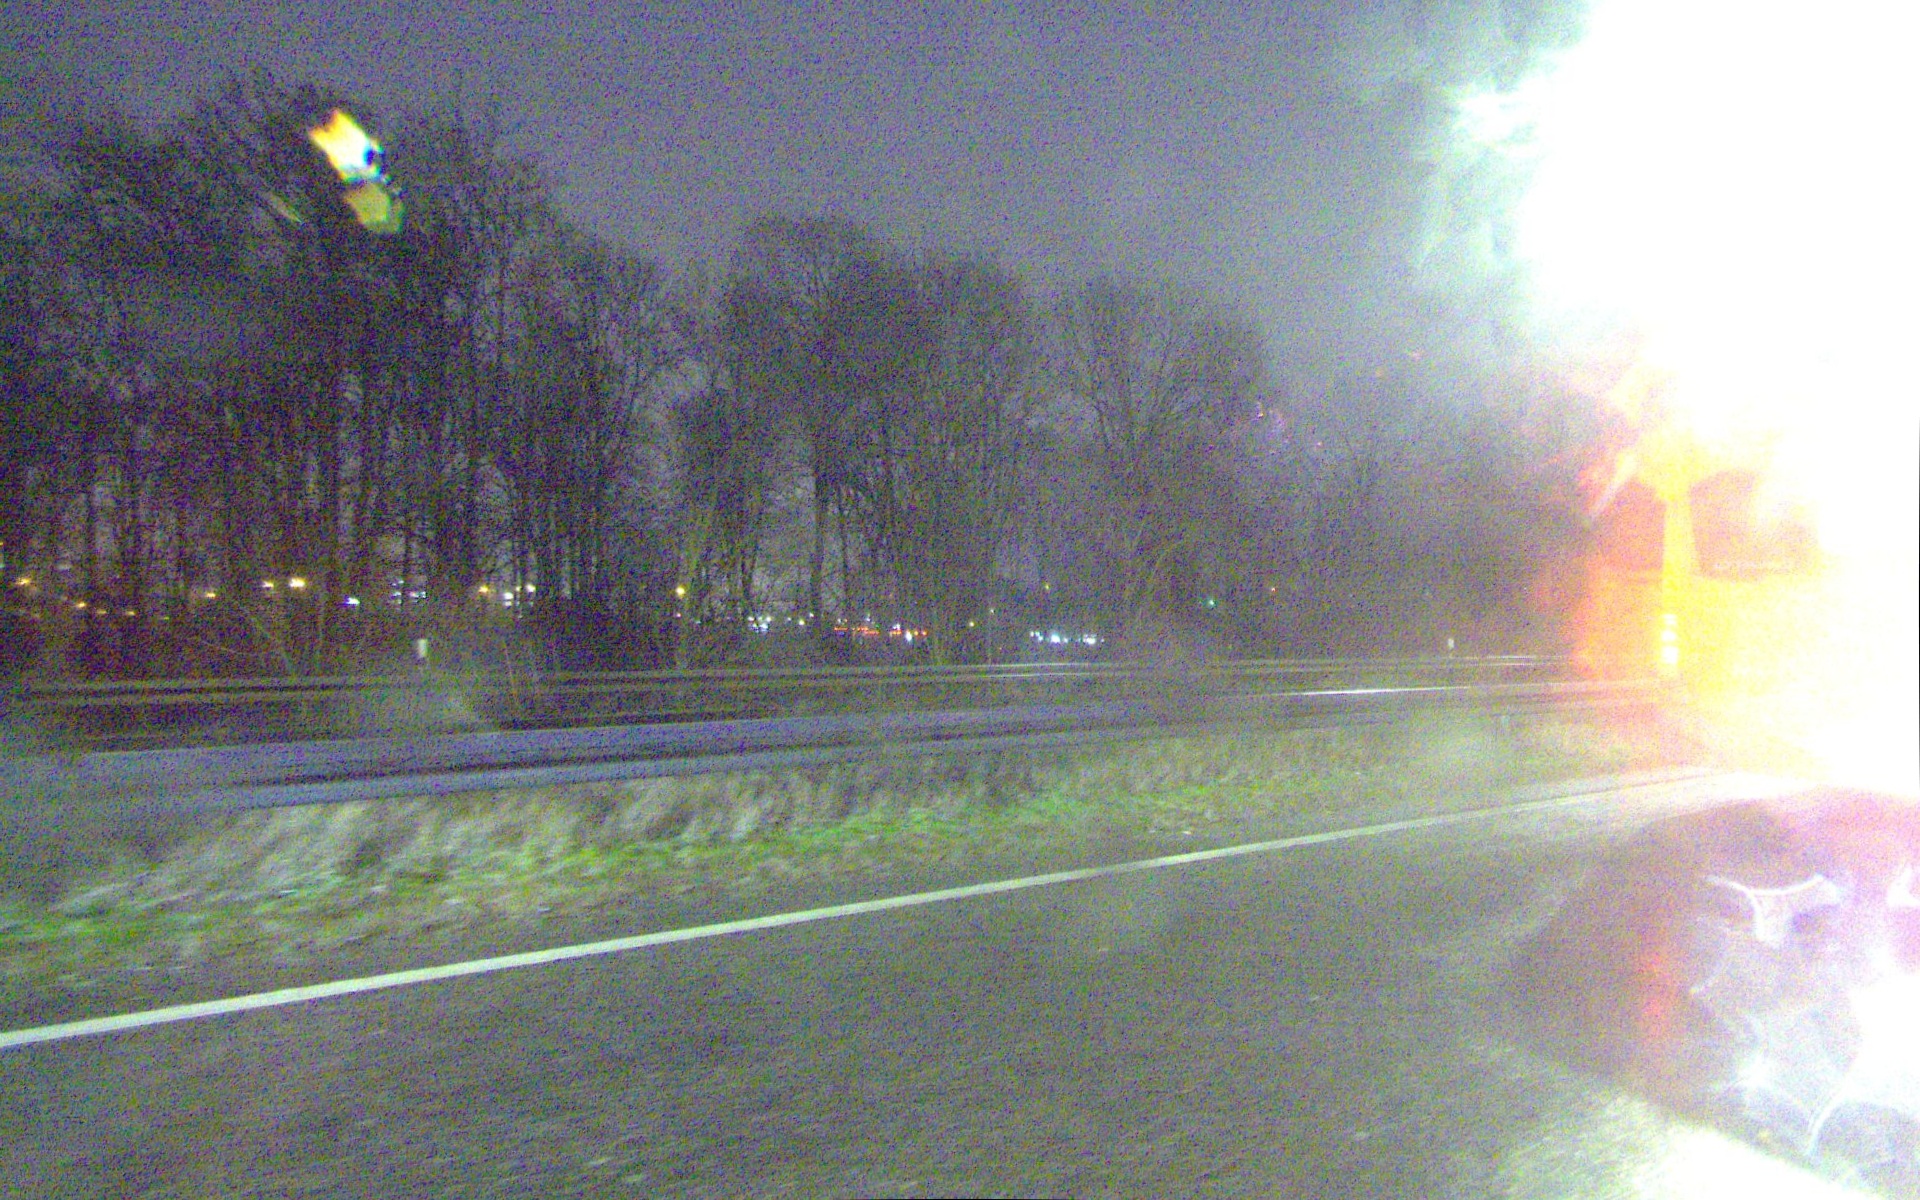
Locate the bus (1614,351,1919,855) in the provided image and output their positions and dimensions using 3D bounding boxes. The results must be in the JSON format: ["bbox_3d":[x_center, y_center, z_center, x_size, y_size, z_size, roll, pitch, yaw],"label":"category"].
[{"bbox_3d":[9.302,0.093,8.673,8.591,3.064,2.800,1,0,-32],"label":"bus"}]
